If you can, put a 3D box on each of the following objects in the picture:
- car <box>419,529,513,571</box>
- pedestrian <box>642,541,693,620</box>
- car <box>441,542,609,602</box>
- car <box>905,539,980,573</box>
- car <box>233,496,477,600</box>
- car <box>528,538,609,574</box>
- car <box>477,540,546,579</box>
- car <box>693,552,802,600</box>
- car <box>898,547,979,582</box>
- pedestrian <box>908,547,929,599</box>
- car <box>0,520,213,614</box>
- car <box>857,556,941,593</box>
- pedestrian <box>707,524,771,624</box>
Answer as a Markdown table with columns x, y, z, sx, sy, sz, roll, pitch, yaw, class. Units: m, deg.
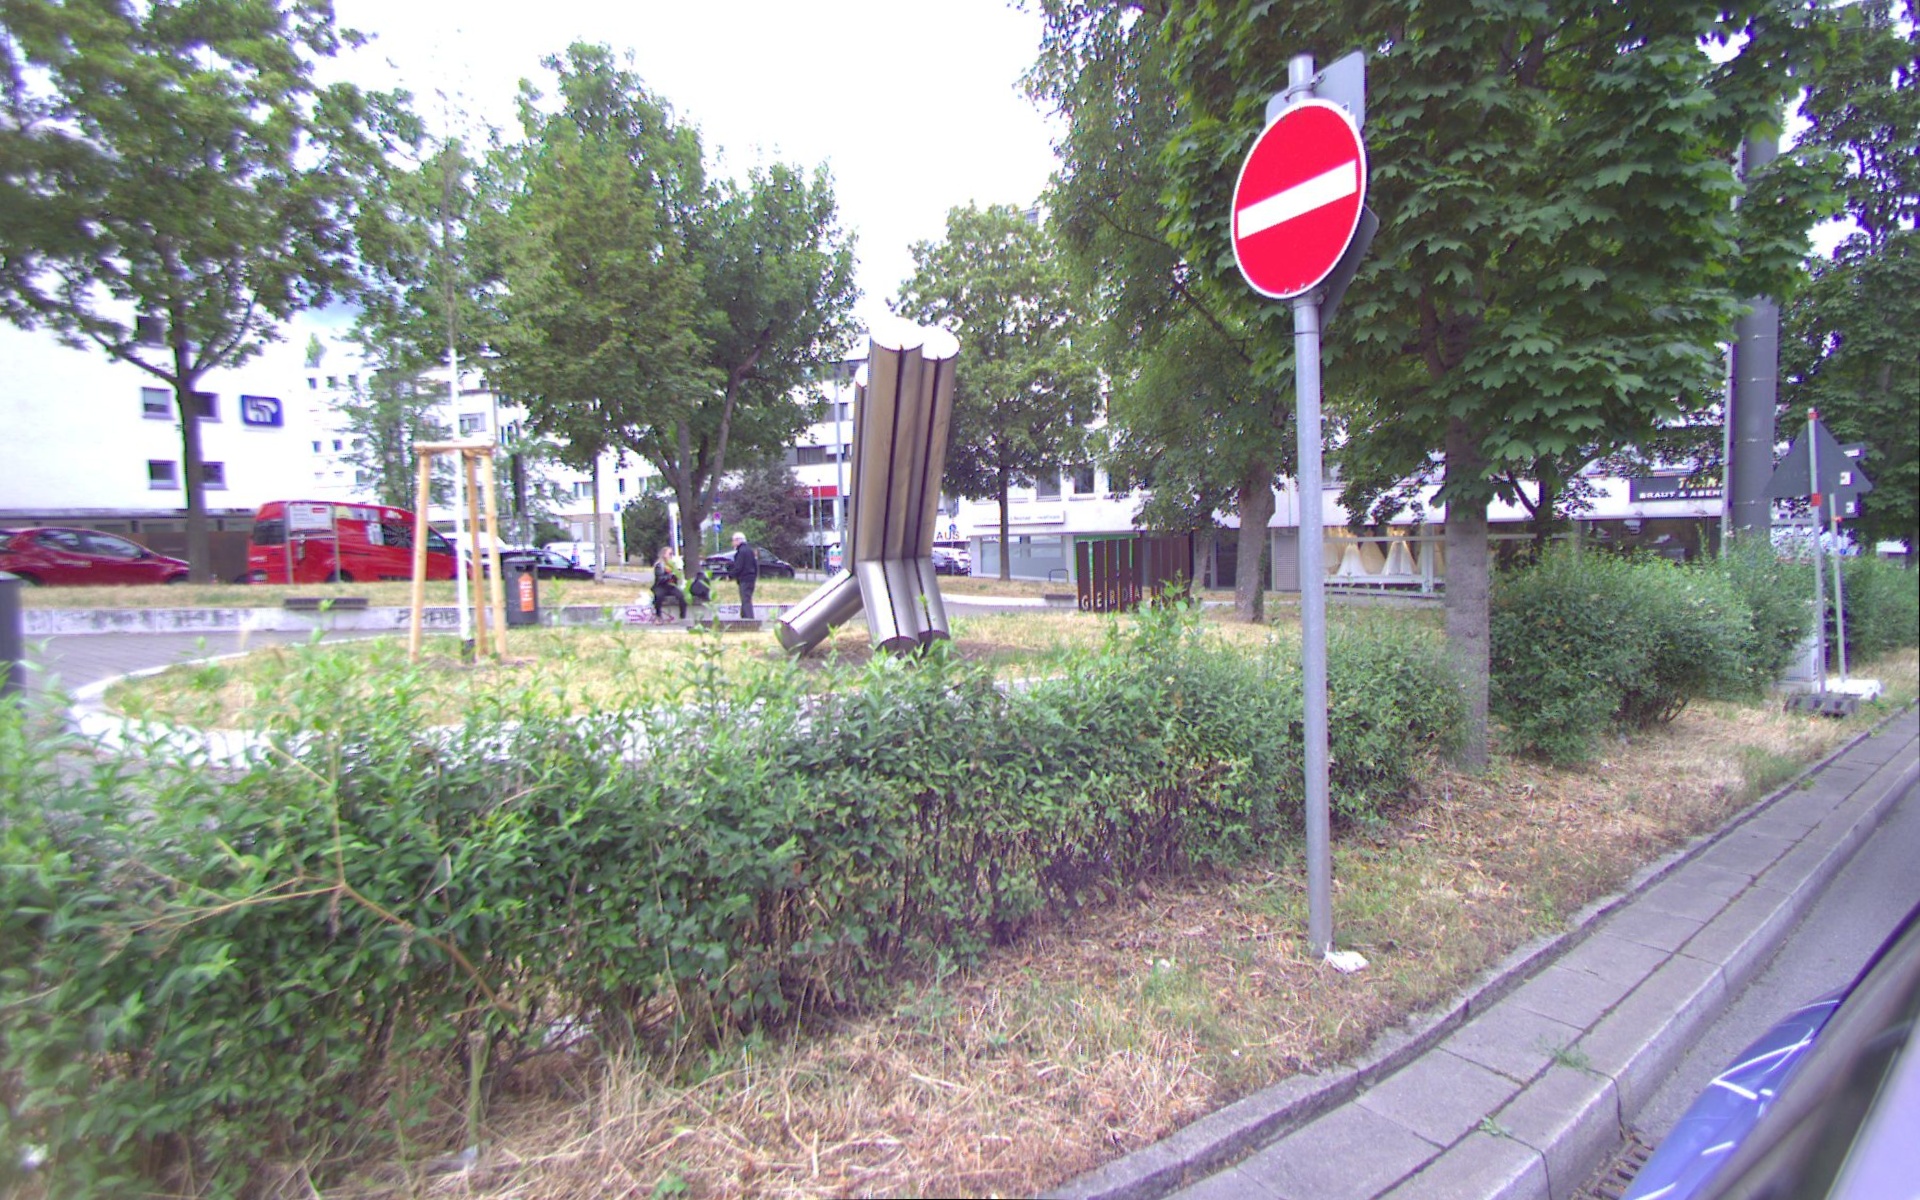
| x | y | z | sx | sy | sz | roll | pitch | yaw | class |
| --- | --- | --- | --- | --- | --- | --- | --- | --- | --- |
| -23.467 | -2.389 | 48.008 | 4.581 | 1.900 | 2.078 | 2 | 2 | 35 | car |
| -4.953 | -0.343 | 17.148 | 0.672 | 1.308 | 0.657 | 0 | 2 | -32 | pedestrian |
| -12.468 | -0.837 | 29.342 | 1.977 | 1.584 | 4.384 | 2 | 2 | 22 | car |
| -0.999 | -2.420 | 56.115 | 3.977 | 1.708 | 1.667 | -1 | 0 | 37 | car |
| -14.337 | -1.217 | 24.367 | 2.101 | 2.240 | 4.863 | 2 | 2 | 20 | car |
| -22.164 | -2.488 | 57.209 | 4.759 | 1.969 | 2.198 | 3 | 3 | 38 | car |
| -27.064 | -2.436 | 61.020 | 3.968 | 2.271 | 1.985 | 2 | 2 | 34 | car |
| -8.382 | -0.983 | 40.330 | 1.977 | 1.762 | 4.750 | 2 | 2 | 22 | car |
| -1.139 | -1.885 | 53.524 | 3.982 | 1.738 | 1.972 | 3 | 3 | 40 | car |
| -1.256 | -0.808 | 30.276 | 0.517 | 1.552 | 0.675 | 0 | 2 | -11 | pedestrian |
| -16.387 | -0.625 | 18.832 | 1.728 | 1.584 | 3.691 | 2 | 2 | 22 | car |
| -3.116 | -1.333 | 51.224 | 3.982 | 1.738 | 1.972 | 3 | 3 | 40 | car |
| -3.682 | -0.442 | 16.901 | 0.719 | 1.622 | 0.786 | 2 | 2 | 25 | pedestrian |
